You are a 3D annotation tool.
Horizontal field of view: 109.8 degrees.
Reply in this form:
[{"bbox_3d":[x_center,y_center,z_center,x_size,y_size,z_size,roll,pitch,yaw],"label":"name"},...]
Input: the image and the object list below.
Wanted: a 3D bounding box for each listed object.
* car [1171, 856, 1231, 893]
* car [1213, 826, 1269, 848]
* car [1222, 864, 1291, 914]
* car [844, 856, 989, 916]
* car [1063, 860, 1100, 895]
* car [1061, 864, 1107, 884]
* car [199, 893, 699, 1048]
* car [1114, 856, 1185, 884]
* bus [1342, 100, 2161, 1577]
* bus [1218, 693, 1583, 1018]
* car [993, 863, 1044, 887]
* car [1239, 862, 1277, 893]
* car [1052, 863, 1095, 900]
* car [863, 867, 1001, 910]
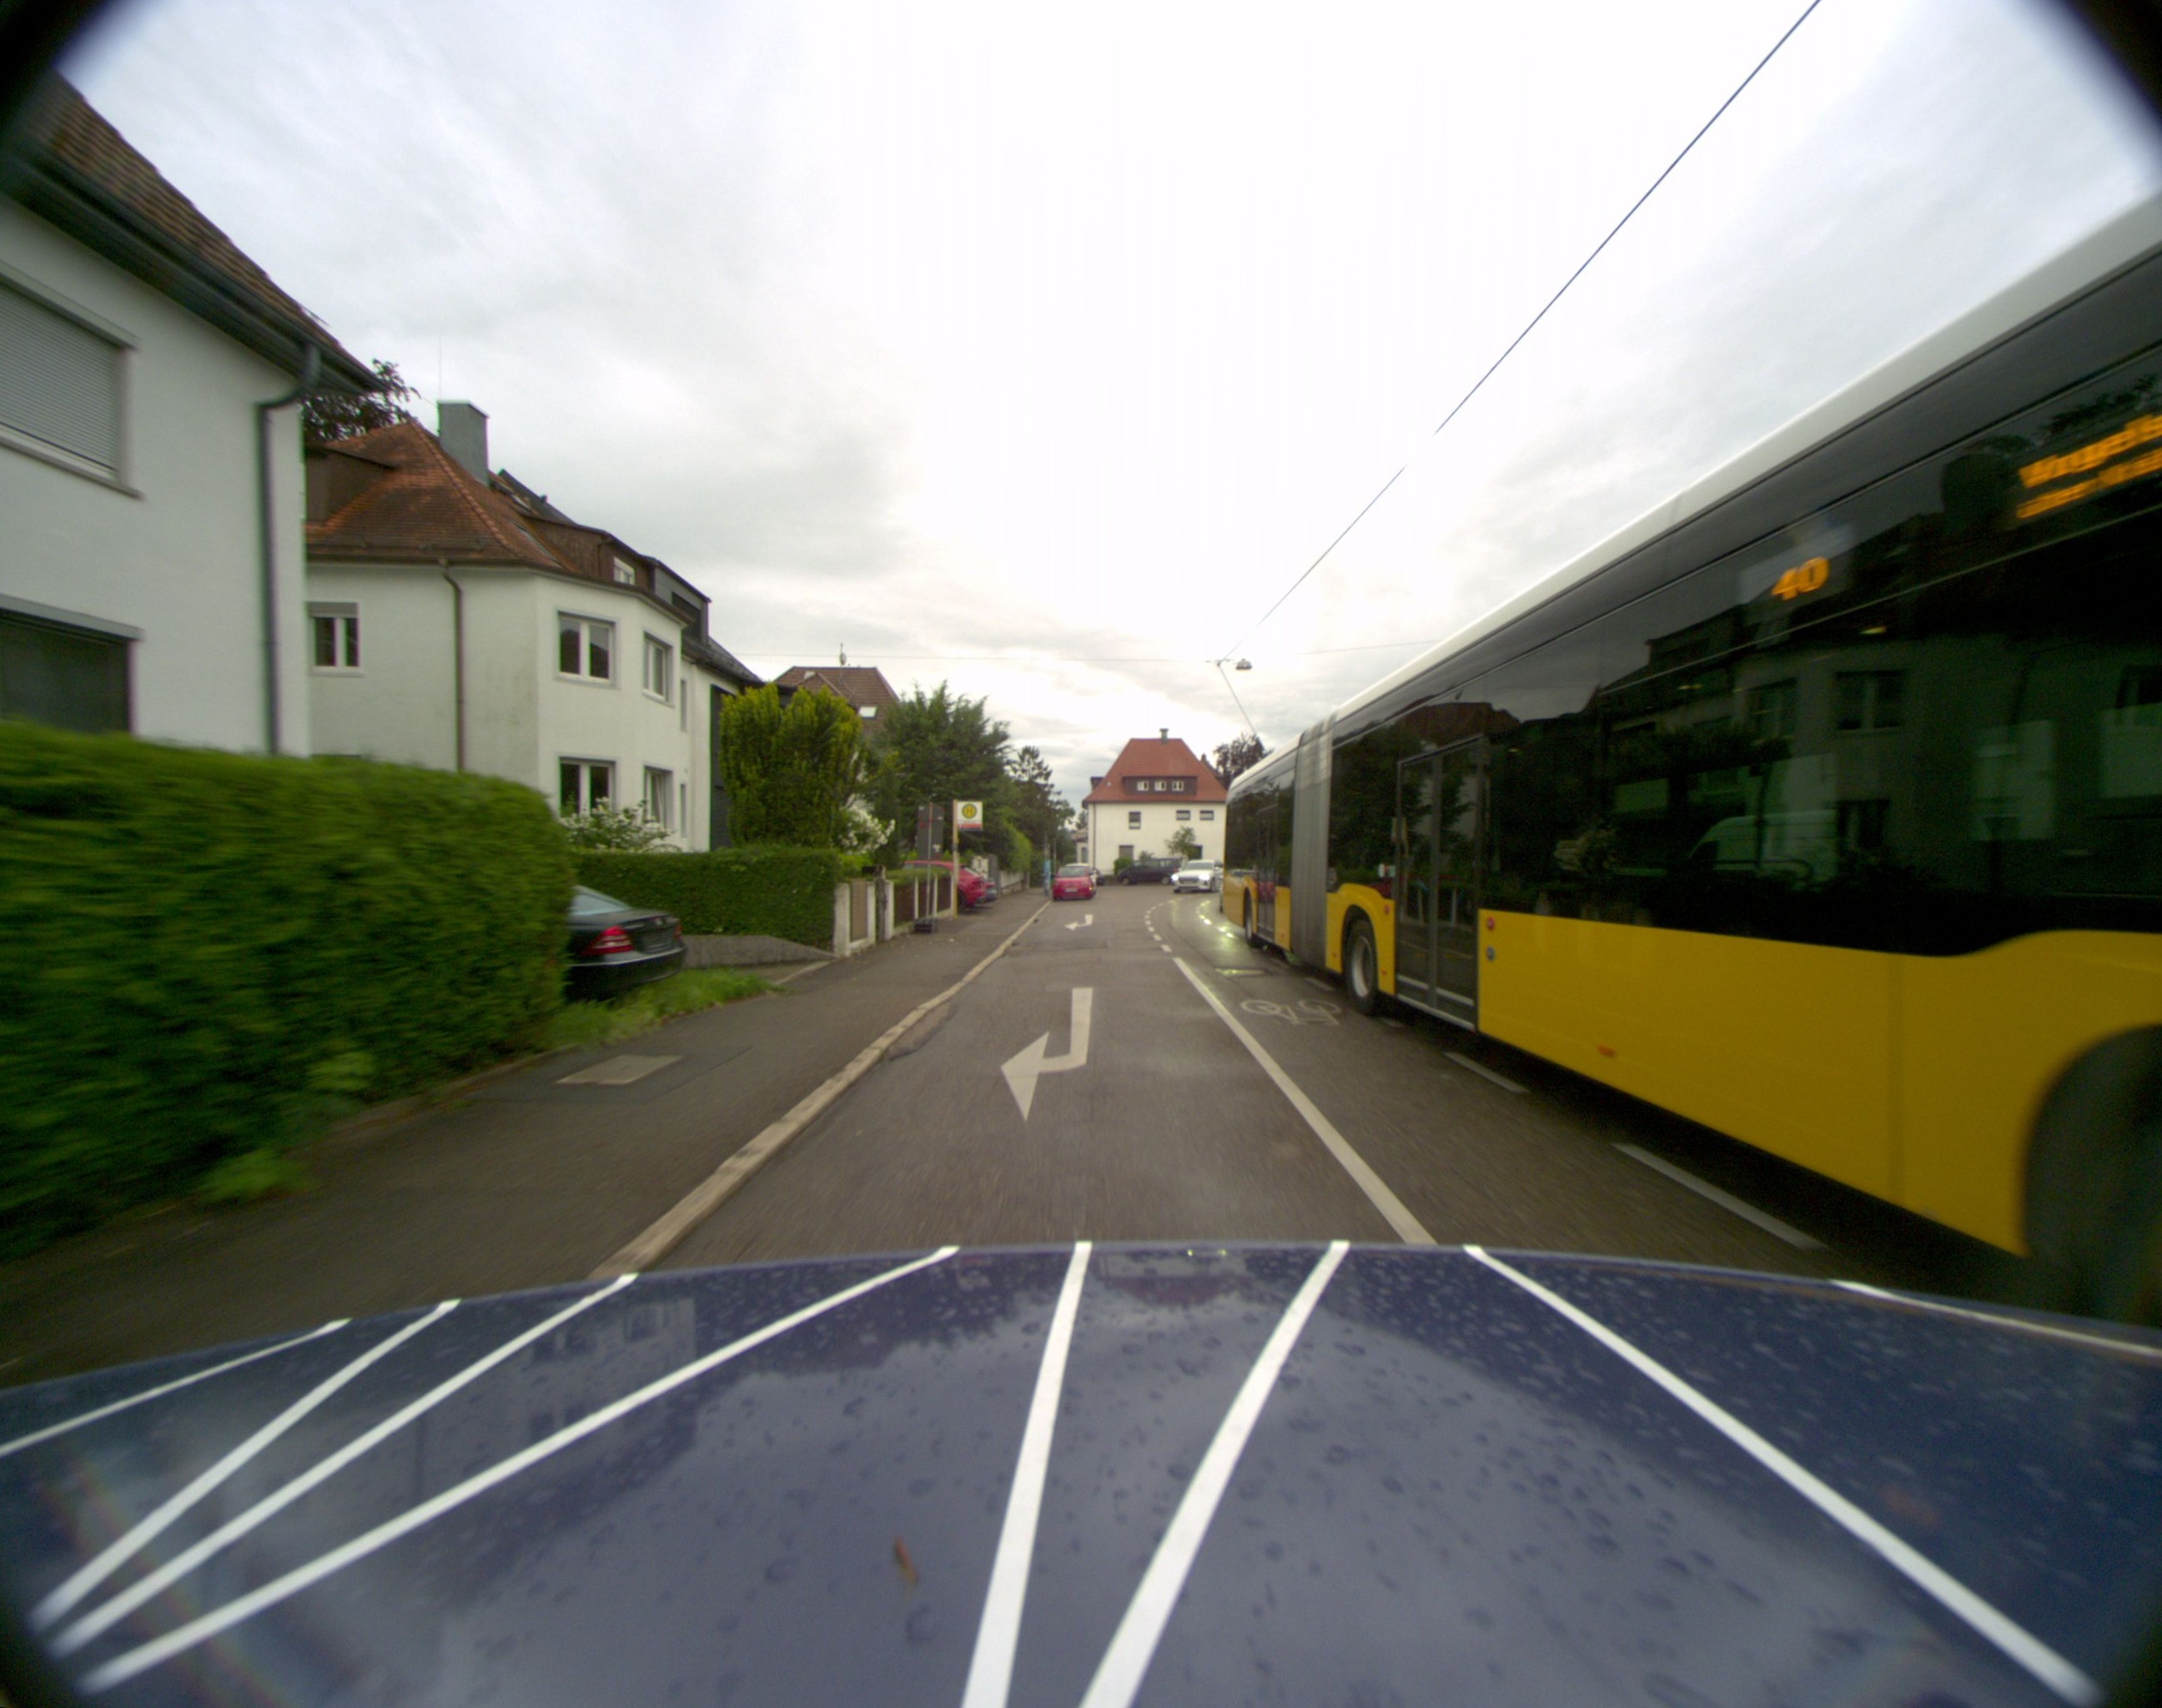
[{"bbox_3d":[6.052,0.983,38.002,1.792,1.689,3.898,-1,0,27],"label":"car"},{"bbox_3d":[14.727,-1.543,69.838,4.734,1.799,1.945,3,2,20],"label":"car"},{"bbox_3d":[5.666,1.084,24.935,1.997,1.470,4.490,0,-1,10],"label":"car"},{"bbox_3d":[-5.168,0.975,23.885,4.092,1.740,1.996,1,-1,-26],"label":"car"},{"bbox_3d":[0.038,1.191,39.447,1.748,1.662,4.648,-2,-1,1],"label":"car"},{"bbox_3d":[0.249,1.535,58.307,3.273,1.431,1.321,1,-5,-26],"label":"car"},{"bbox_3d":[-6.223,1.113,7.807,3.752,1.379,1.617,0,-2,0],"label":"car"},{"bbox_3d":[5.088,1.144,56.465,4.911,1.936,1.943,0,1,22],"label":"car"},{"bbox_3d":[3.951,-0.024,2.966,2.907,3.378,9.042,0,0,1],"label":"bus"},{"bbox_3d":[4.121,0.050,12.307,2.682,3.378,8.683,0,0,3],"label":"bus"},{"bbox_3d":[-5.098,1.718,62.234,3.997,1.849,1.771,-1,0,0],"label":"car"},{"bbox_3d":[8.894,1.138,38.000,1.729,1.470,4.046,0,-1,15],"label":"car"},{"bbox_3d":[-0.286,1.165,33.563,1.615,1.528,3.542,-2,-1,3],"label":"car"},{"bbox_3d":[-5.179,1.199,26.927,4.560,1.408,1.999,1,-1,-5],"label":"car"}]
